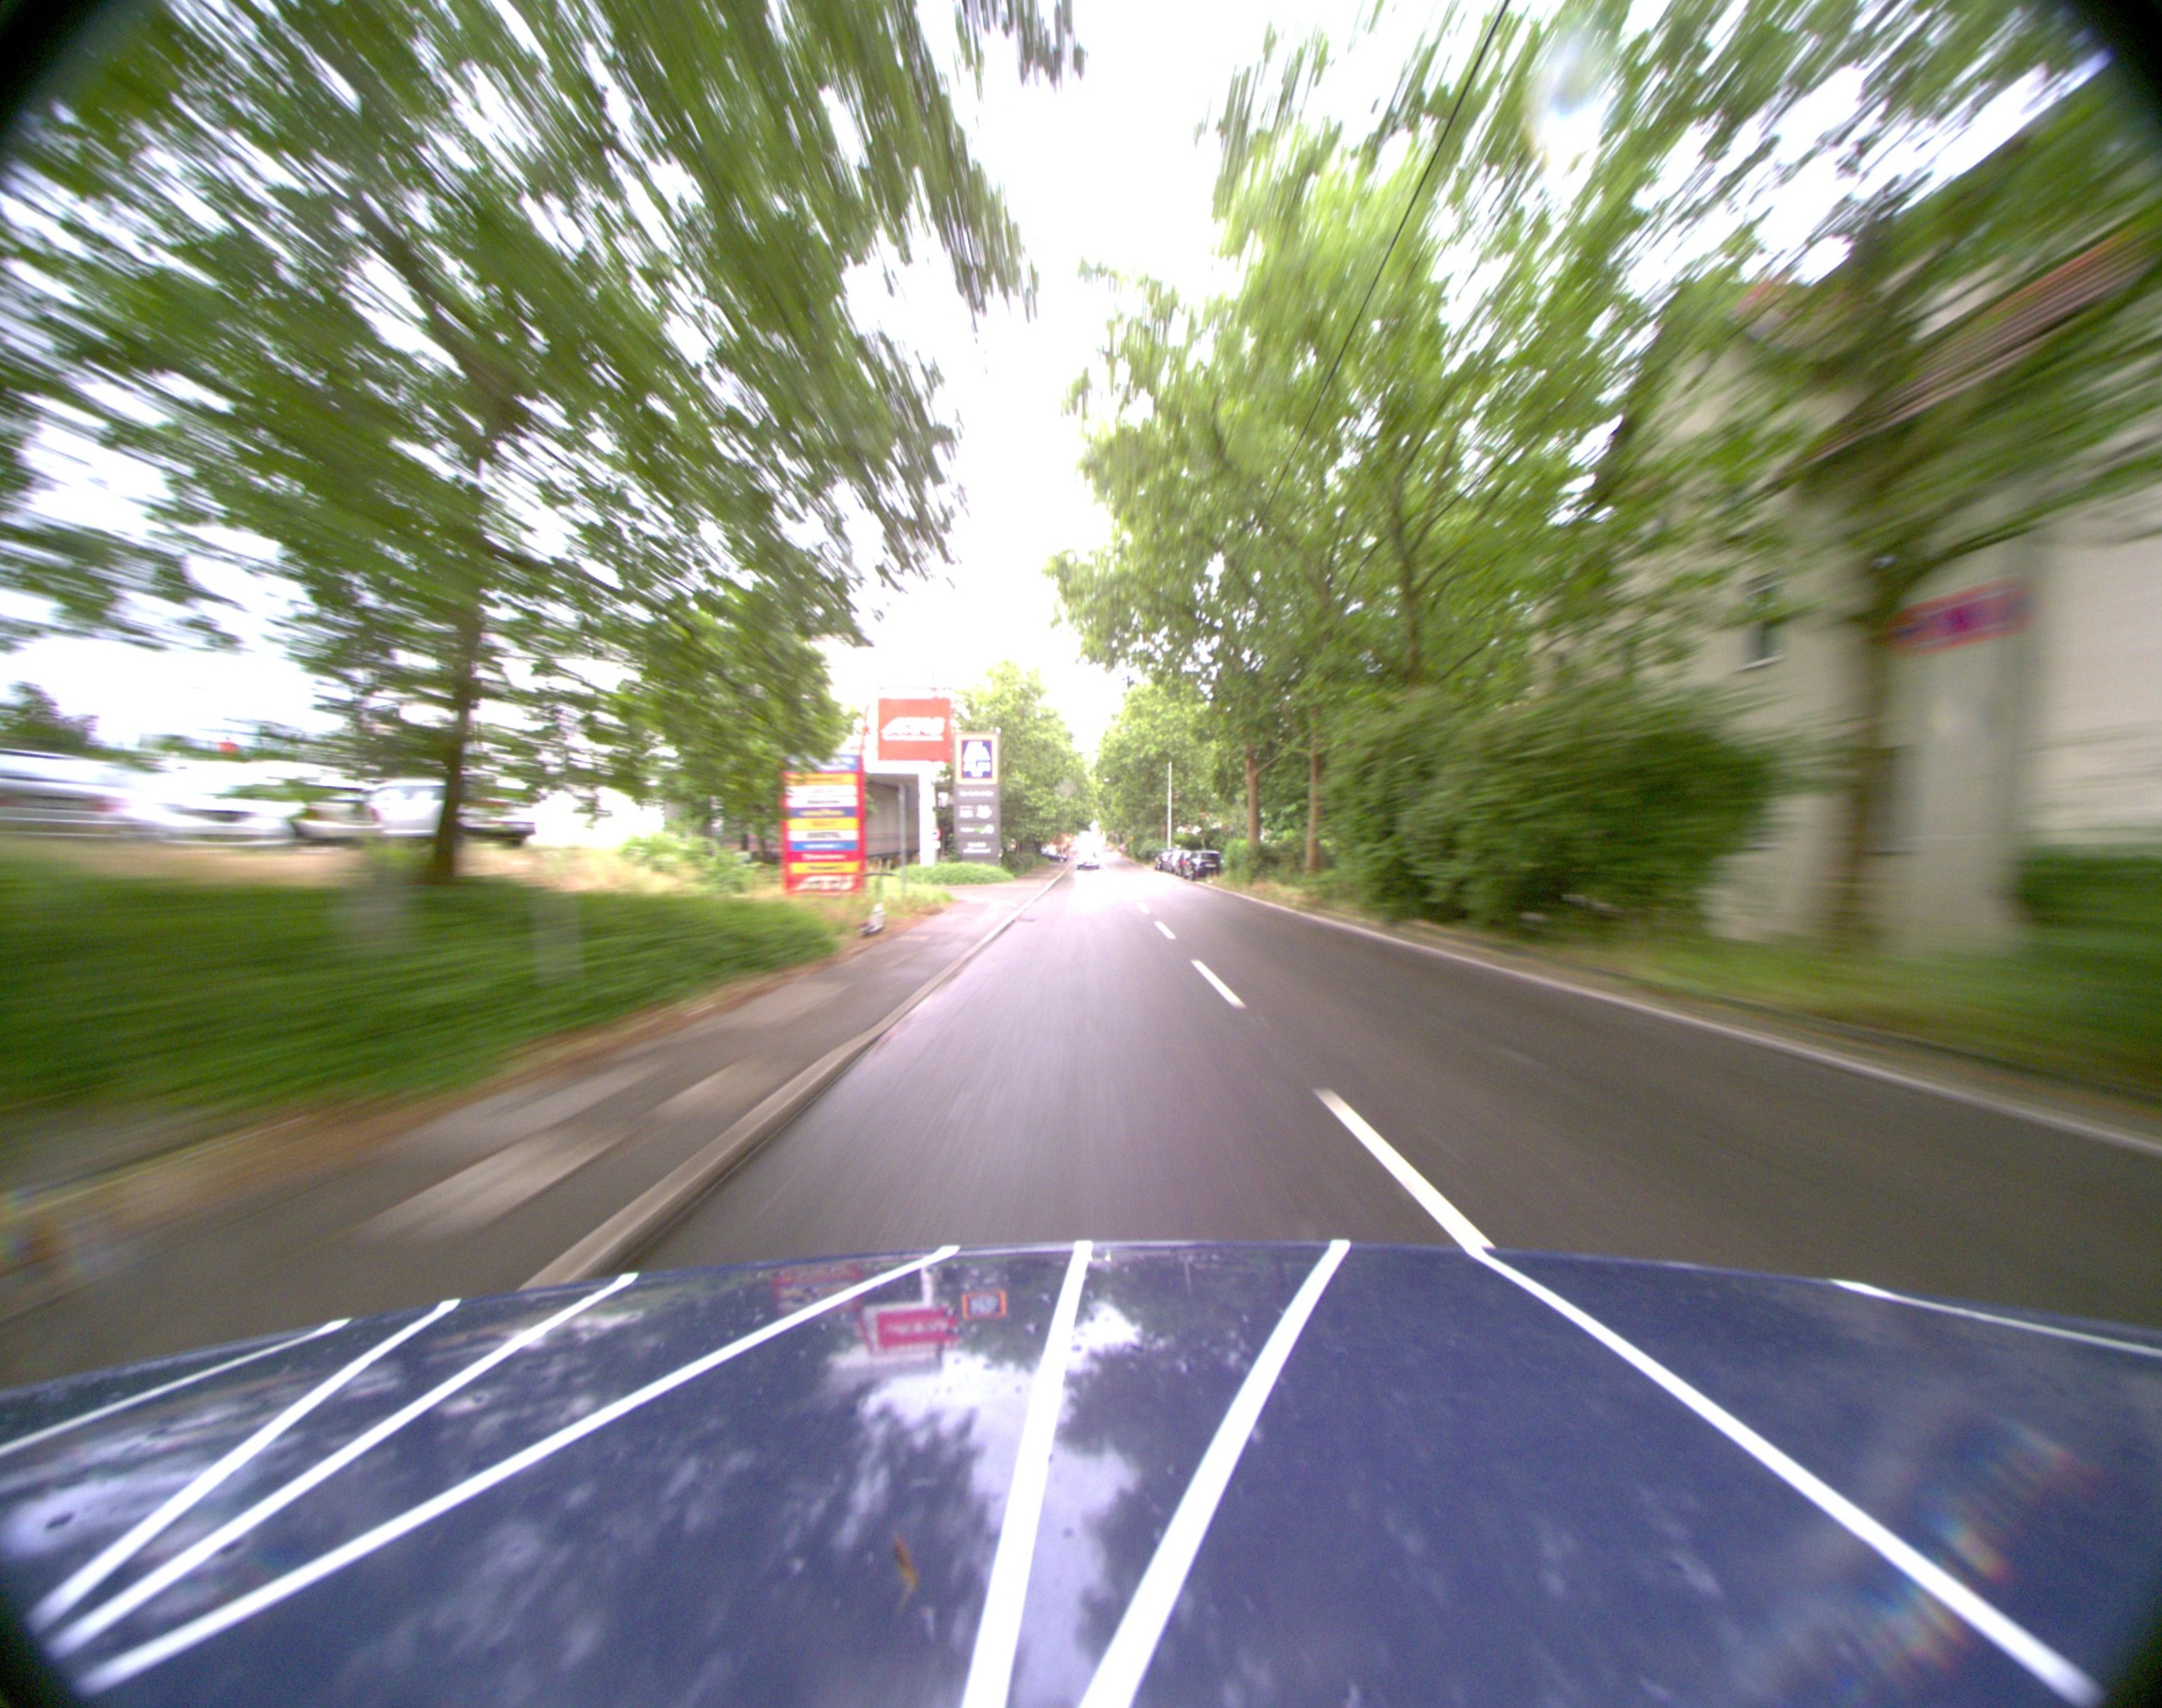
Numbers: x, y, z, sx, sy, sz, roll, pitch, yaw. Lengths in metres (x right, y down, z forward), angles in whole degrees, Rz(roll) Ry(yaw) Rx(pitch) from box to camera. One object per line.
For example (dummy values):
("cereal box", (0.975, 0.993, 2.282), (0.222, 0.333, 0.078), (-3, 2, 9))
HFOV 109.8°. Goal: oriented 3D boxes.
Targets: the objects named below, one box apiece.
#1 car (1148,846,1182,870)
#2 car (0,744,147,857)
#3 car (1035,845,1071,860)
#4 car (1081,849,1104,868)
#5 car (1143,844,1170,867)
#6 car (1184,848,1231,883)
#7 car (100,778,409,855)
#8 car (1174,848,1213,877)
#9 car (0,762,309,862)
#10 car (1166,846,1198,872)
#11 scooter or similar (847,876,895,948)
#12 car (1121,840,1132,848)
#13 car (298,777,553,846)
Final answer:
("car", (5.982, 0.239, 54.421), (1.869, 1.582, 4.238), (2, 1, -1))
("car", (-15.185, -0.617, 9.570), (4.621, 1.326, 1.800), (-1, 1, 1))
("car", (-3.136, -0.194, 83.995), (3.860, 1.538, 2.025), (0, 1, -5))
("car", (0.899, 0.343, 61.767), (1.692, 1.334, 3.998), (0, 2, -2))
("car", (5.964, 0.125, 60.601), (1.738, 1.648, 4.564), (3, 1, 2))
("car", (6.373, 0.534, 38.613), (1.652, 1.529, 4.017), (3, 1, 0))
("car", (-15.746, -0.691, 14.647), (3.928, 1.286, 1.832), (-2, 1, 1))
("car", (6.449, 0.446, 43.991), (1.676, 1.499, 3.873), (3, 1, 1))
("car", (-15.364, -0.625, 12.170), (4.110, 1.458, 1.884), (0, 1, 2))
("car", (6.538, 0.297, 49.648), (1.676, 1.499, 4.123), (-2, 1, 2))
("scooter or similar", (-3.829, 1.035, 13.969), (0.426, 1.135, 1.528), (-3, 3, -1))
("car", (8.425, -1.852, 141.602), (1.721, 1.501, 4.802), (-1, 2, -1))
("car", (-14.803, -0.925, 17.337), (4.110, 1.368, 1.902), (-2, 1, 1))
